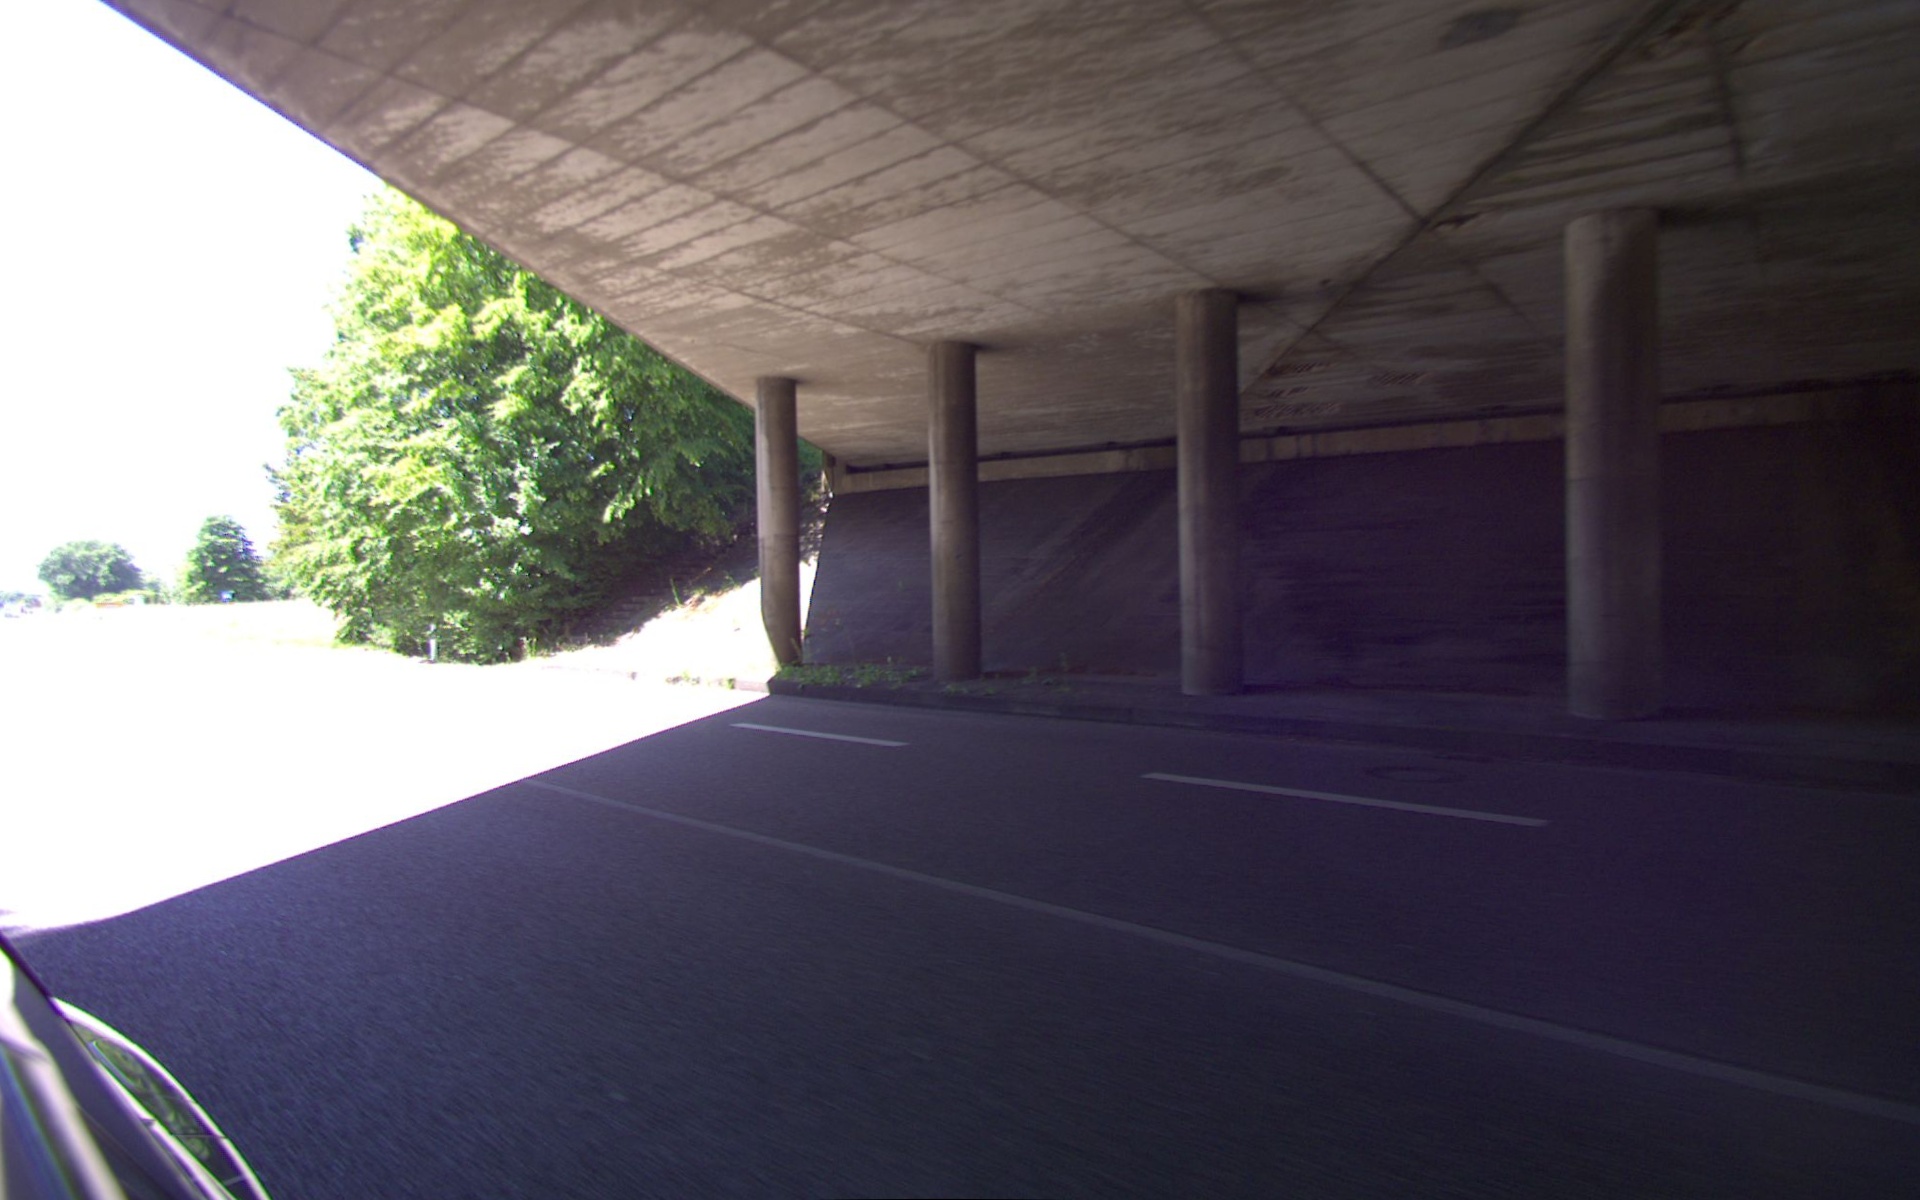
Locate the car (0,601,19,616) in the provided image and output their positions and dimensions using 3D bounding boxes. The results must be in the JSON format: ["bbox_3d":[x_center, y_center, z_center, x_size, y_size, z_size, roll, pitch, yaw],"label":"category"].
[{"bbox_3d":[-128.713,1.191,137.024,1.970,1.978,4.004,1,-1,-43],"label":"car"}]

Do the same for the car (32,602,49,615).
[{"bbox_3d":[-137.736,1.273,151.552,1.819,2.029,4.004,0,0,-43],"label":"car"}]
